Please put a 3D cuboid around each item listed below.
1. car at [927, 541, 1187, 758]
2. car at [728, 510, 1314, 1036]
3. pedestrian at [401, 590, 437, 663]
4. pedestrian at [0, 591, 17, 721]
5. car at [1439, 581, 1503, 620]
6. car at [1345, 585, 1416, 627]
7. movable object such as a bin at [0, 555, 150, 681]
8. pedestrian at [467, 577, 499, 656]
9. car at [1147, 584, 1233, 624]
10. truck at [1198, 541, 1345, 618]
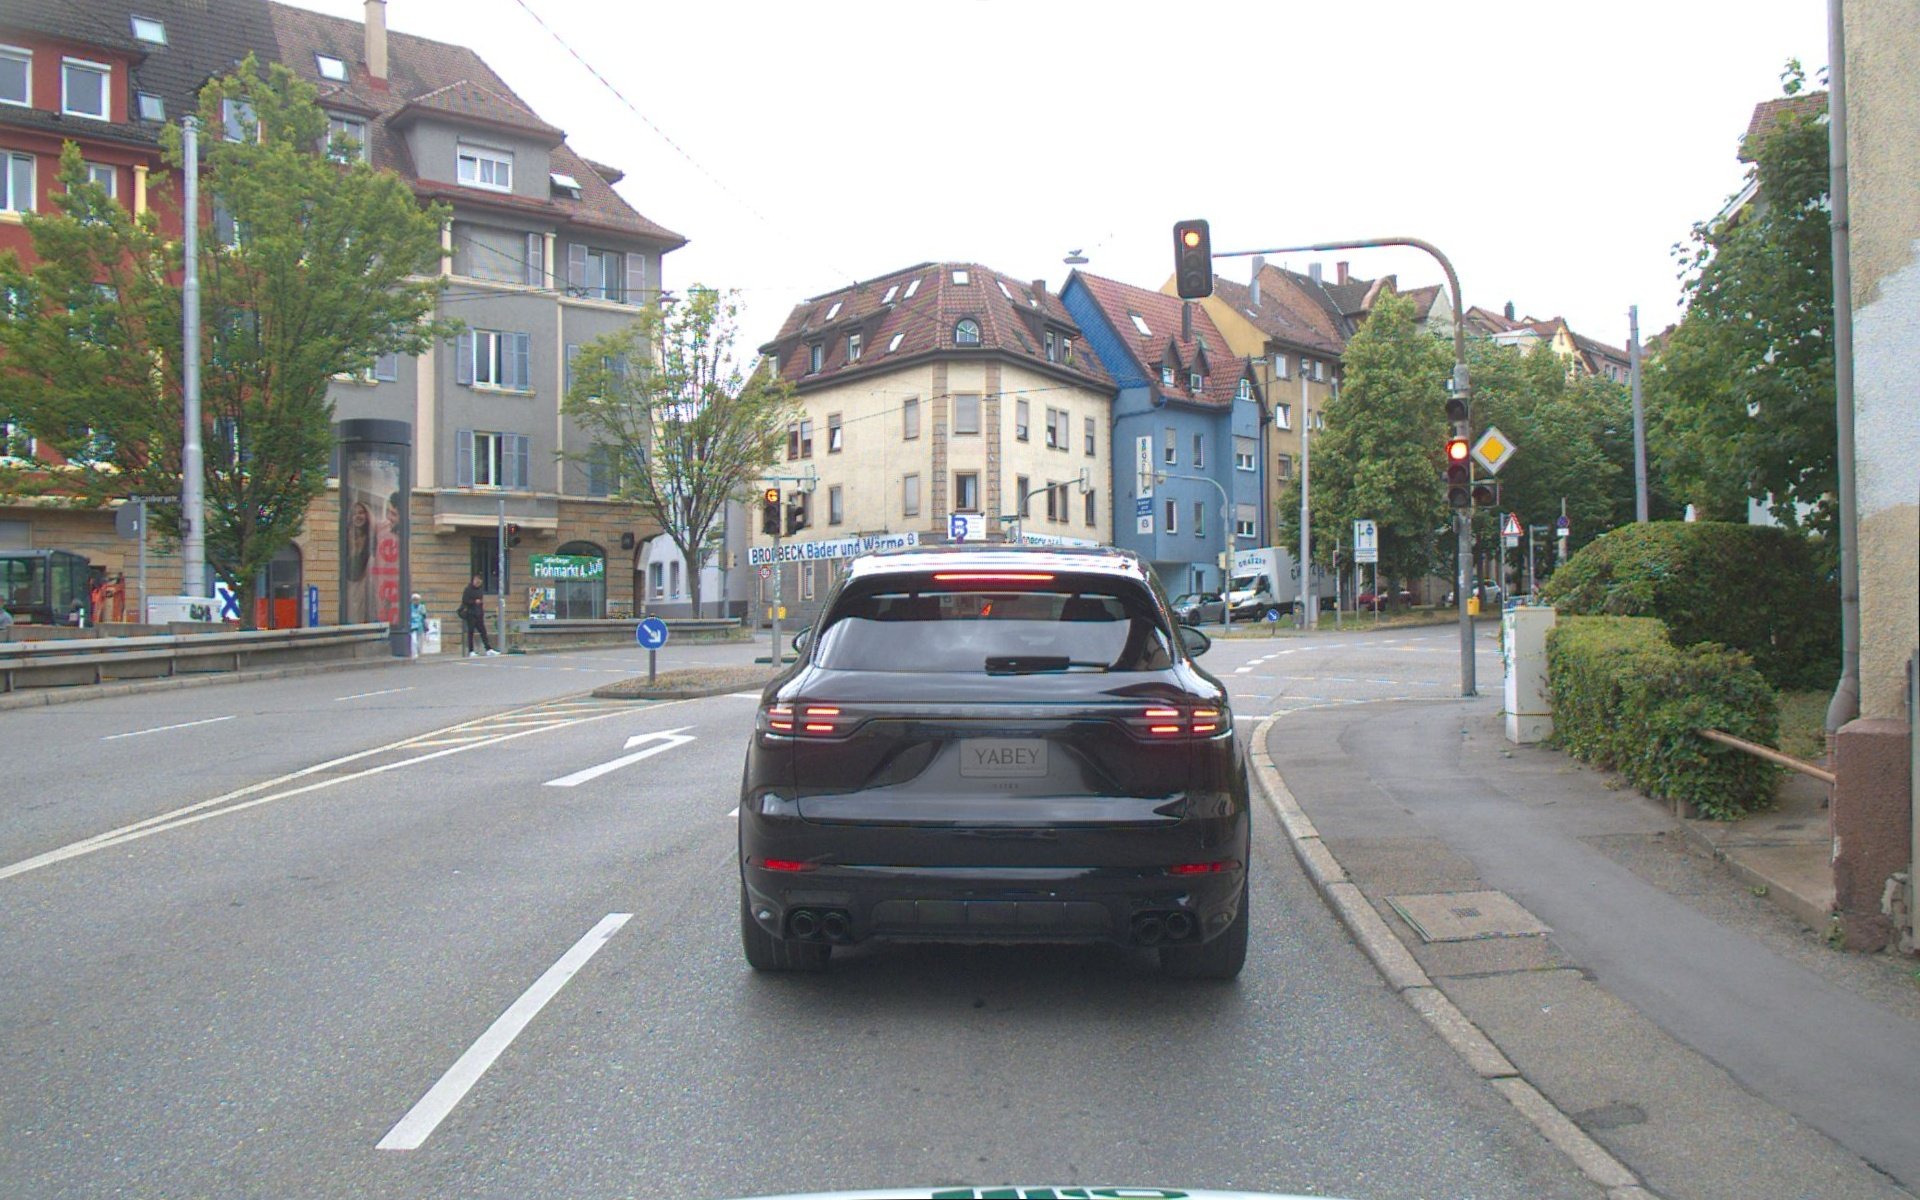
[{"bbox_3d":[1.029,0.390,15.151,1.951,1.713,4.003,0,0,10],"label":"car"},{"bbox_3d":[0.093,0.537,7.456,1.939,1.713,3.997,0,1,-4],"label":"car"},{"bbox_3d":[-12.125,0.588,37.087,0.577,1.594,0.486,2,0,-1],"label":"pedestrian"},{"bbox_3d":[-13.282,0.758,22.647,0.537,1.760,0.586,2,-1,-35],"label":"pedestrian"},{"bbox_3d":[29.272,0.040,94.641,1.965,2.049,3.975,2,0,42],"label":"car"},{"bbox_3d":[22.036,0.344,86.659,1.965,2.049,3.975,2,0,42],"label":"car"},{"bbox_3d":[-14.207,0.241,25.868,1.870,1.802,3.986,2,0,-14],"label":"movable object such as a bin"},{"bbox_3d":[-10.729,0.372,37.222,0.503,1.760,0.451,2,0,1],"label":"pedestrian"},{"bbox_3d":[10.046,0.176,72.049,1.963,1.713,3.979,0,0,40],"label":"car"},{"bbox_3d":[14.957,-0.926,78.835,2.830,3.398,8.744,2,0,41],"label":"truck"}]
